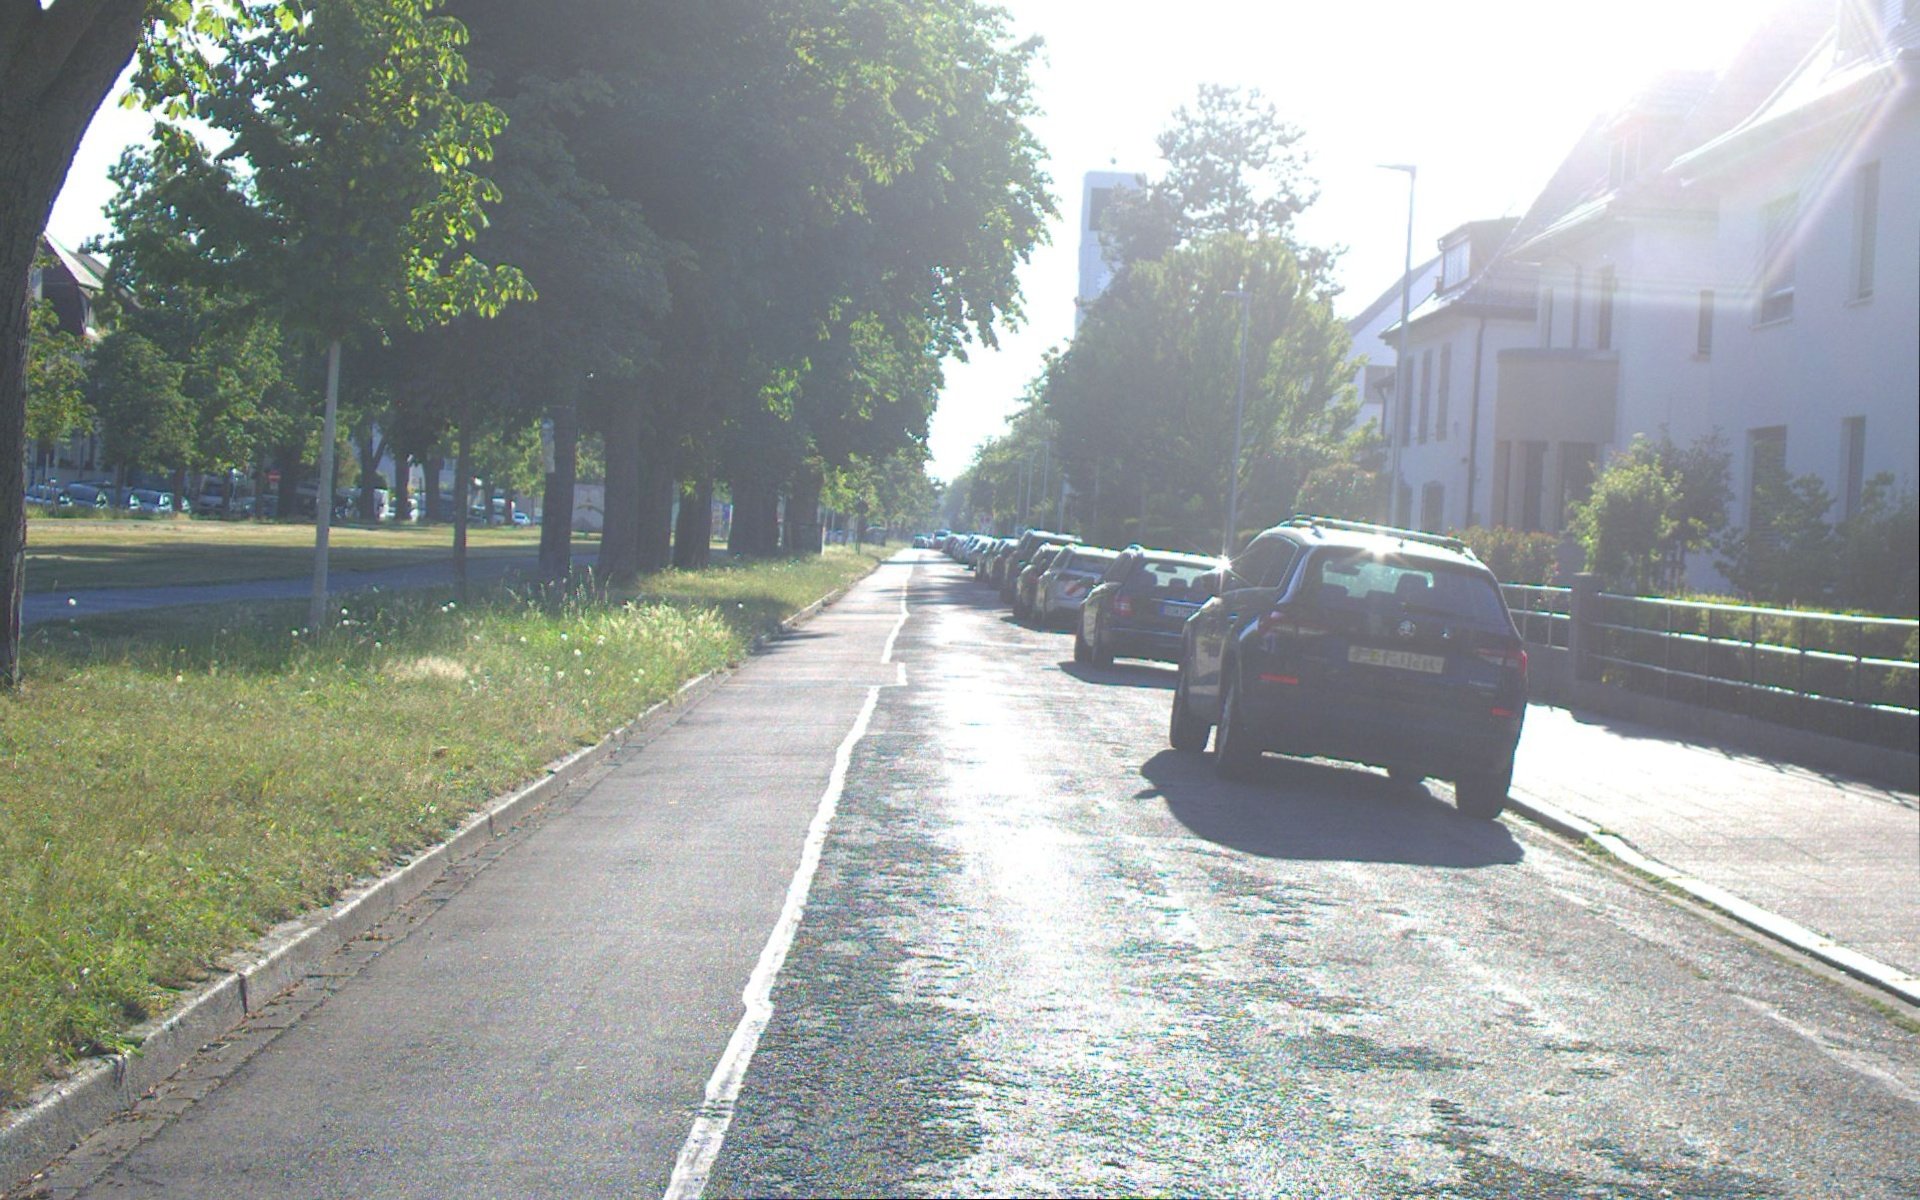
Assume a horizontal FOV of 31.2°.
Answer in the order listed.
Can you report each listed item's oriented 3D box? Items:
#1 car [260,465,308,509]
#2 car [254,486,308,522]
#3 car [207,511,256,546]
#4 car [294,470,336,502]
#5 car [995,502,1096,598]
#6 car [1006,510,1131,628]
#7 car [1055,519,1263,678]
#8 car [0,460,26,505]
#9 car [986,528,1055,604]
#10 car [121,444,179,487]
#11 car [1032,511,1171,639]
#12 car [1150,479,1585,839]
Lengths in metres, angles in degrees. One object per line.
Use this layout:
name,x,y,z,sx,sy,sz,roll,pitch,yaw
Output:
car,-34.036,-5.690,173.164,1.654,1.931,3.567,5,-1,-1
car,-35.466,-5.023,179.683,1.993,1.728,4.000,4,1,-1
car,-41.310,-4.052,195.053,1.879,1.746,3.797,5,0,-1
car,-43.761,-7.745,233.262,1.993,2.007,4.000,4,1,-1
car,1.963,-1.164,80.165,1.993,2.007,4.000,5,0,-2
car,2.052,-0.594,66.008,1.993,2.007,4.000,5,0,-2
car,2.263,-0.036,40.116,1.993,1.648,4.000,4,0,-2
car,-40.218,-4.955,143.019,1.729,1.756,3.346,5,0,-1
car,1.723,-0.988,99.361,1.691,2.007,3.625,5,0,-1
car,-42.300,-7.016,179.553,1.993,1.906,4.000,5,0,-1
car,2.443,-0.443,60.359,1.993,2.007,4.000,5,0,-2
car,2.551,0.280,22.668,1.993,1.897,4.390,8,2,-2
